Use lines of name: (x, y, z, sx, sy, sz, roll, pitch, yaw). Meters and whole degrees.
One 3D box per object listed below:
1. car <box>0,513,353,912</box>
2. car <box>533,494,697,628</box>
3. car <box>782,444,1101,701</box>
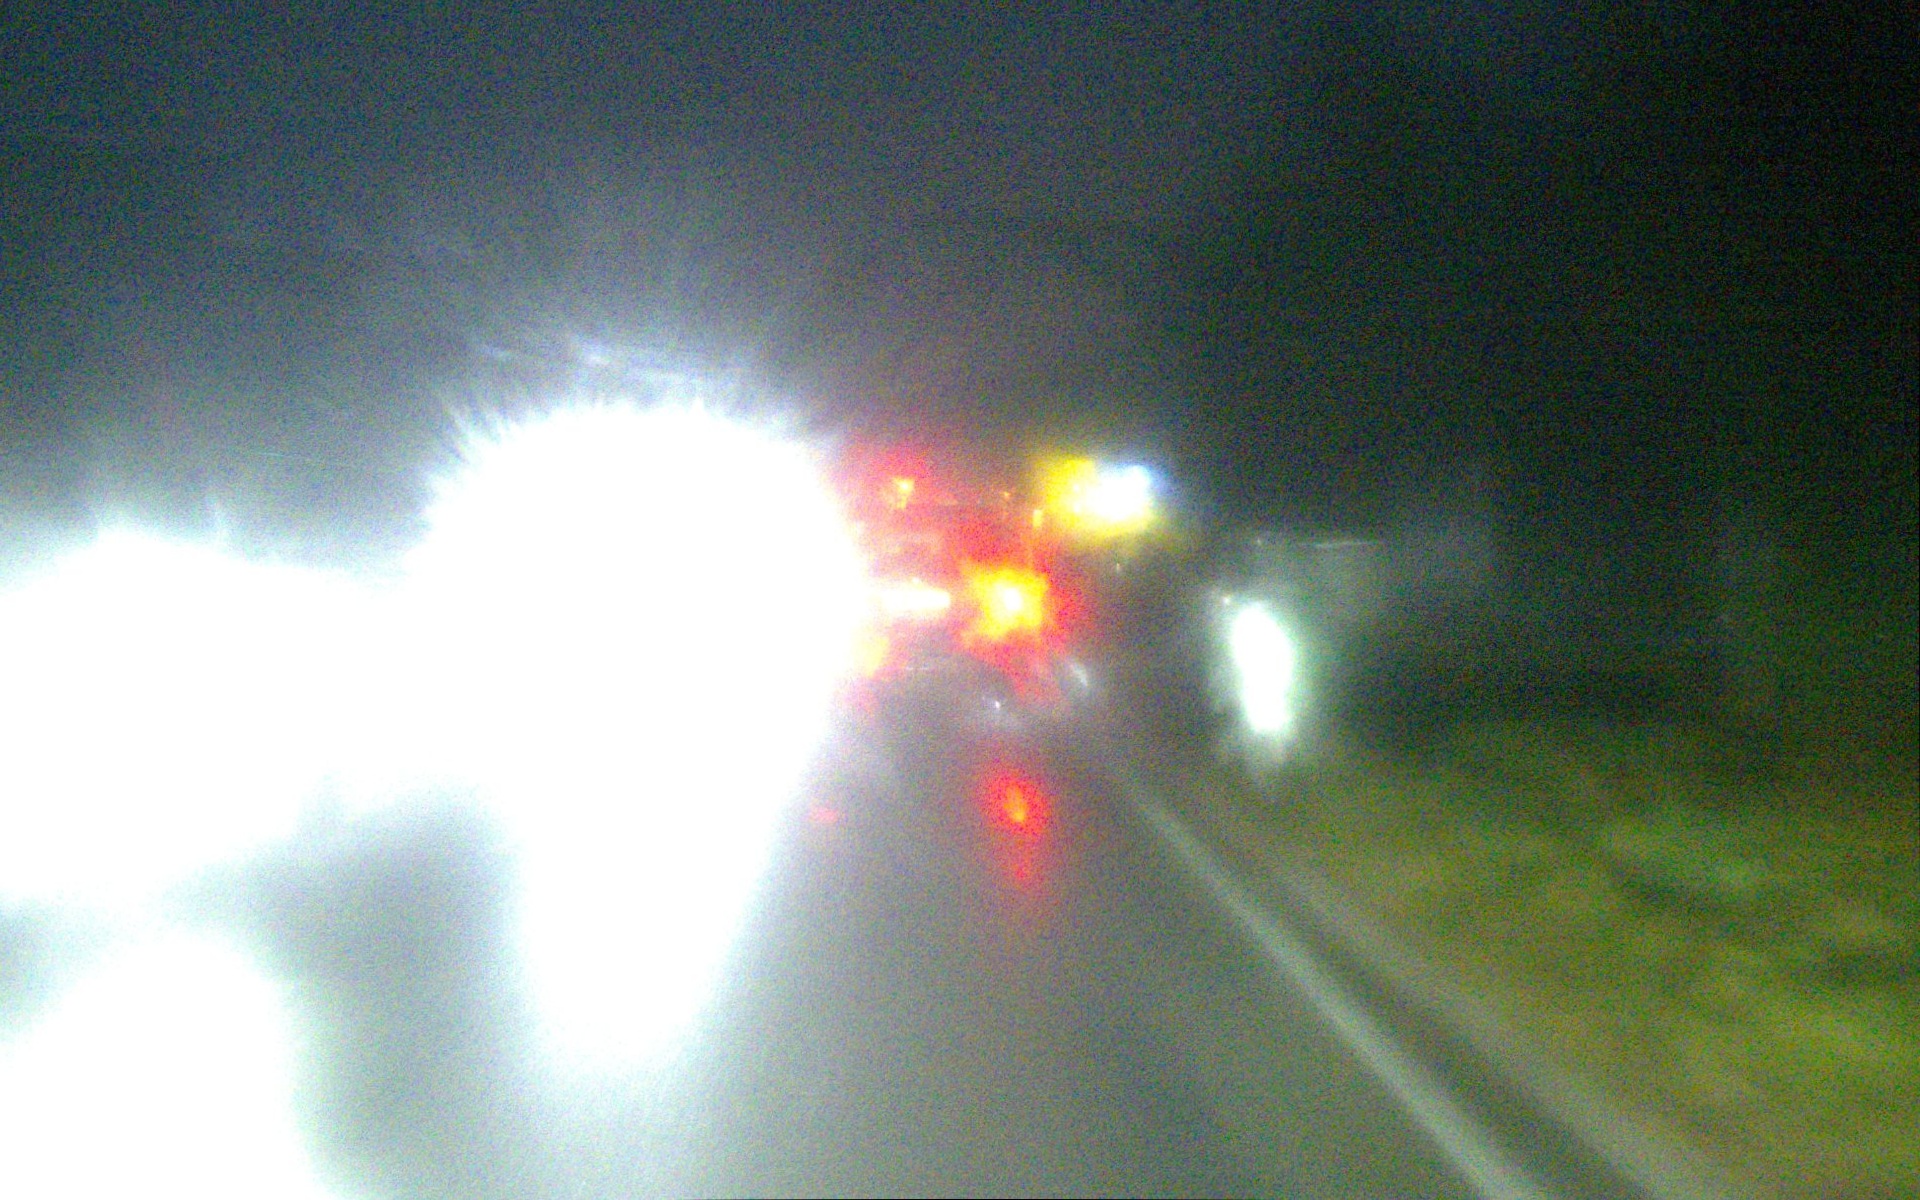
car: (-3.926, 0.422, 15.536, 1.795, 1.532, 3.801, -3, 2, -3)
car: (-4.807, -0.589, 48.443, 1.855, 1.677, 4.326, -3, 2, -1)
car: (-0.243, -0.239, 29.327, 2.457, 1.952, 4.912, -1, 1, -2)
